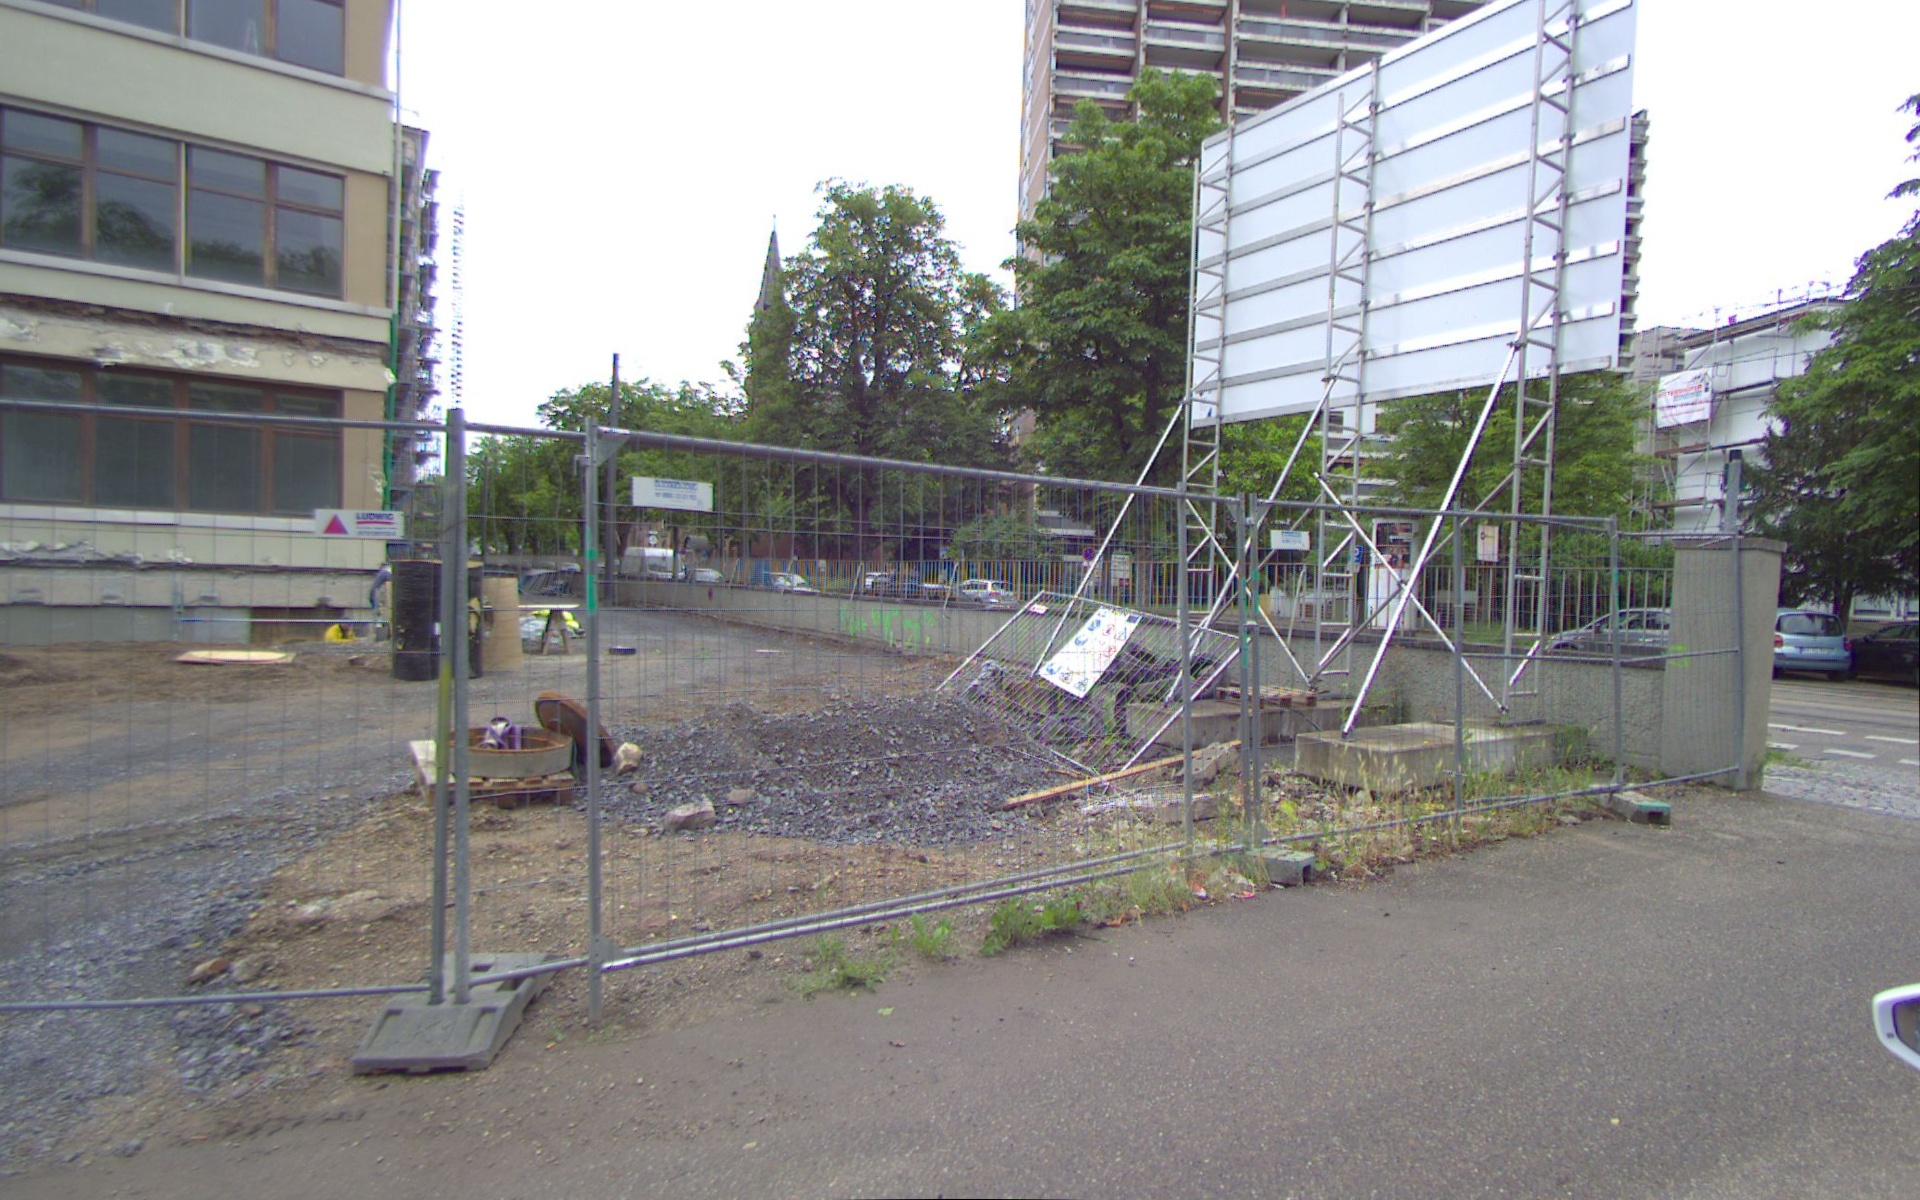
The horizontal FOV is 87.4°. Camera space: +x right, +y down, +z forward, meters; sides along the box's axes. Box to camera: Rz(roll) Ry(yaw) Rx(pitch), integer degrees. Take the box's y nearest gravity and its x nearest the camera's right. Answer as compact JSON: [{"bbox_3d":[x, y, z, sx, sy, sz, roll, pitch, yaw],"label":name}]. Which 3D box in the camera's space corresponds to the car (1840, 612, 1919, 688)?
[{"bbox_3d":[20.629,1.064,21.247,1.586,1.531,3.338,2,1,14],"label":"car"}]

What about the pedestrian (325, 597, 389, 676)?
[{"bbox_3d":[-11.749,0.700,19.567,0.973,1.457,0.921,2,1,-36],"label":"pedestrian"}]

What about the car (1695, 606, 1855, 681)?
[{"bbox_3d":[19.151,0.964,23.774,1.586,1.557,3.338,2,1,14],"label":"car"}]

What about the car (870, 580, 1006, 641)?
[{"bbox_3d":[-0.670,0.243,26.726,1.813,1.437,3.965,2,1,-32],"label":"car"}]

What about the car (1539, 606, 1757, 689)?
[{"bbox_3d":[14.155,0.920,20.834,1.504,1.439,3.400,2,1,-32],"label":"car"}]

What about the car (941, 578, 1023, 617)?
[{"bbox_3d":[0.895,-0.152,43.782,1.711,1.539,3.966,2,1,-31],"label":"car"}]
